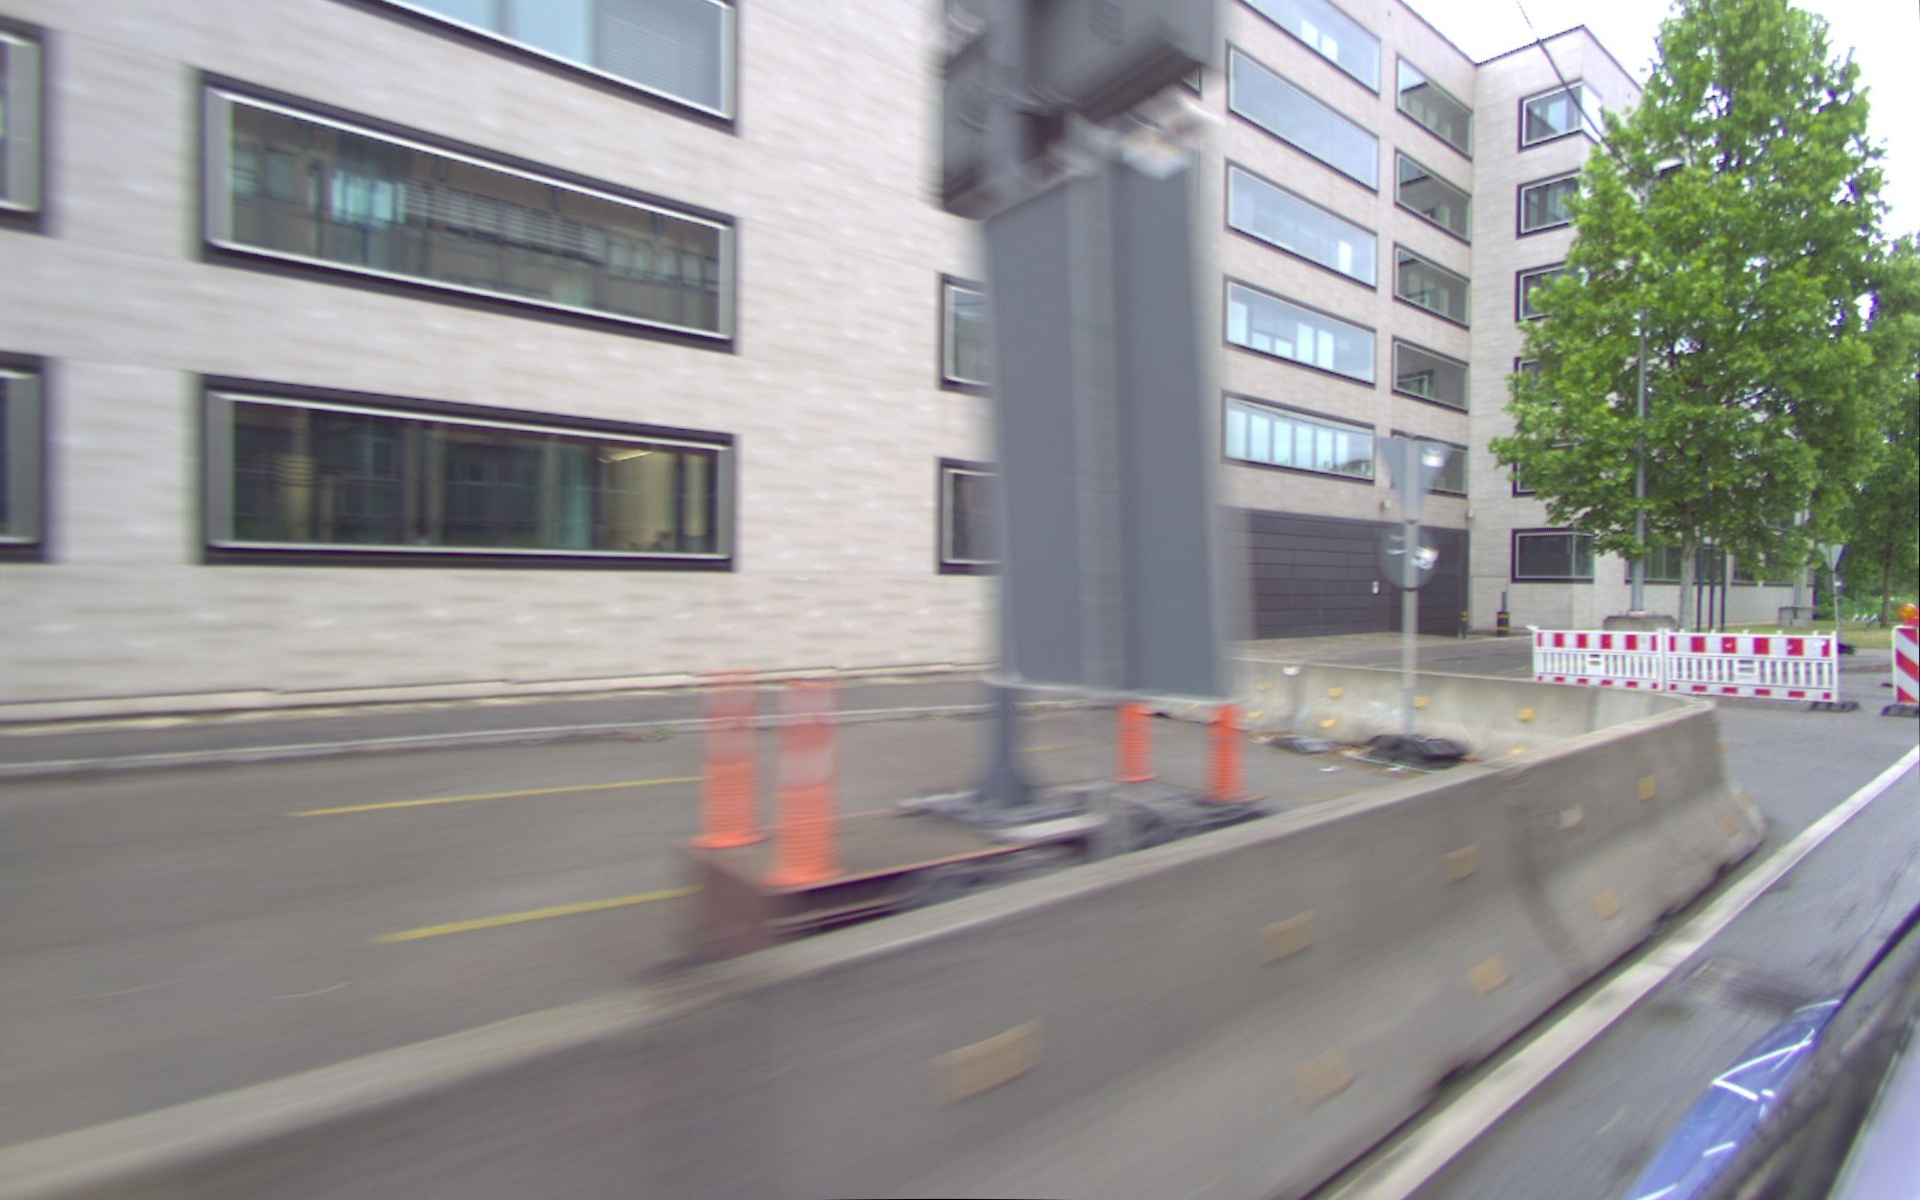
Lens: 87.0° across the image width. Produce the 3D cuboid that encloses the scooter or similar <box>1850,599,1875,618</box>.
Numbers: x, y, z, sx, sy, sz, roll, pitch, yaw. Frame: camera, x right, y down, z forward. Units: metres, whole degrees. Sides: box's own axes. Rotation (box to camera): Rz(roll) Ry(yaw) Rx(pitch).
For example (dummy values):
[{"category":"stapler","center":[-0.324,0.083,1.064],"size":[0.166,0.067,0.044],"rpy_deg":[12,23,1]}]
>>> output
[{"category":"scooter or similar","center":[64.573,0.579,72.409],"size":[0.464,1.329,1.238],"rpy_deg":[0,1,-43]}]

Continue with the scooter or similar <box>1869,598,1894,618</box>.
[{"category":"scooter or similar","center":[64.553,0.558,70.878],"size":[0.545,1.329,1.238],"rpy_deg":[0,1,-44]}]

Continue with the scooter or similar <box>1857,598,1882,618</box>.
[{"category":"scooter or similar","center":[64.481,0.561,71.736],"size":[0.464,1.329,1.238],"rpy_deg":[0,1,-43]}]
